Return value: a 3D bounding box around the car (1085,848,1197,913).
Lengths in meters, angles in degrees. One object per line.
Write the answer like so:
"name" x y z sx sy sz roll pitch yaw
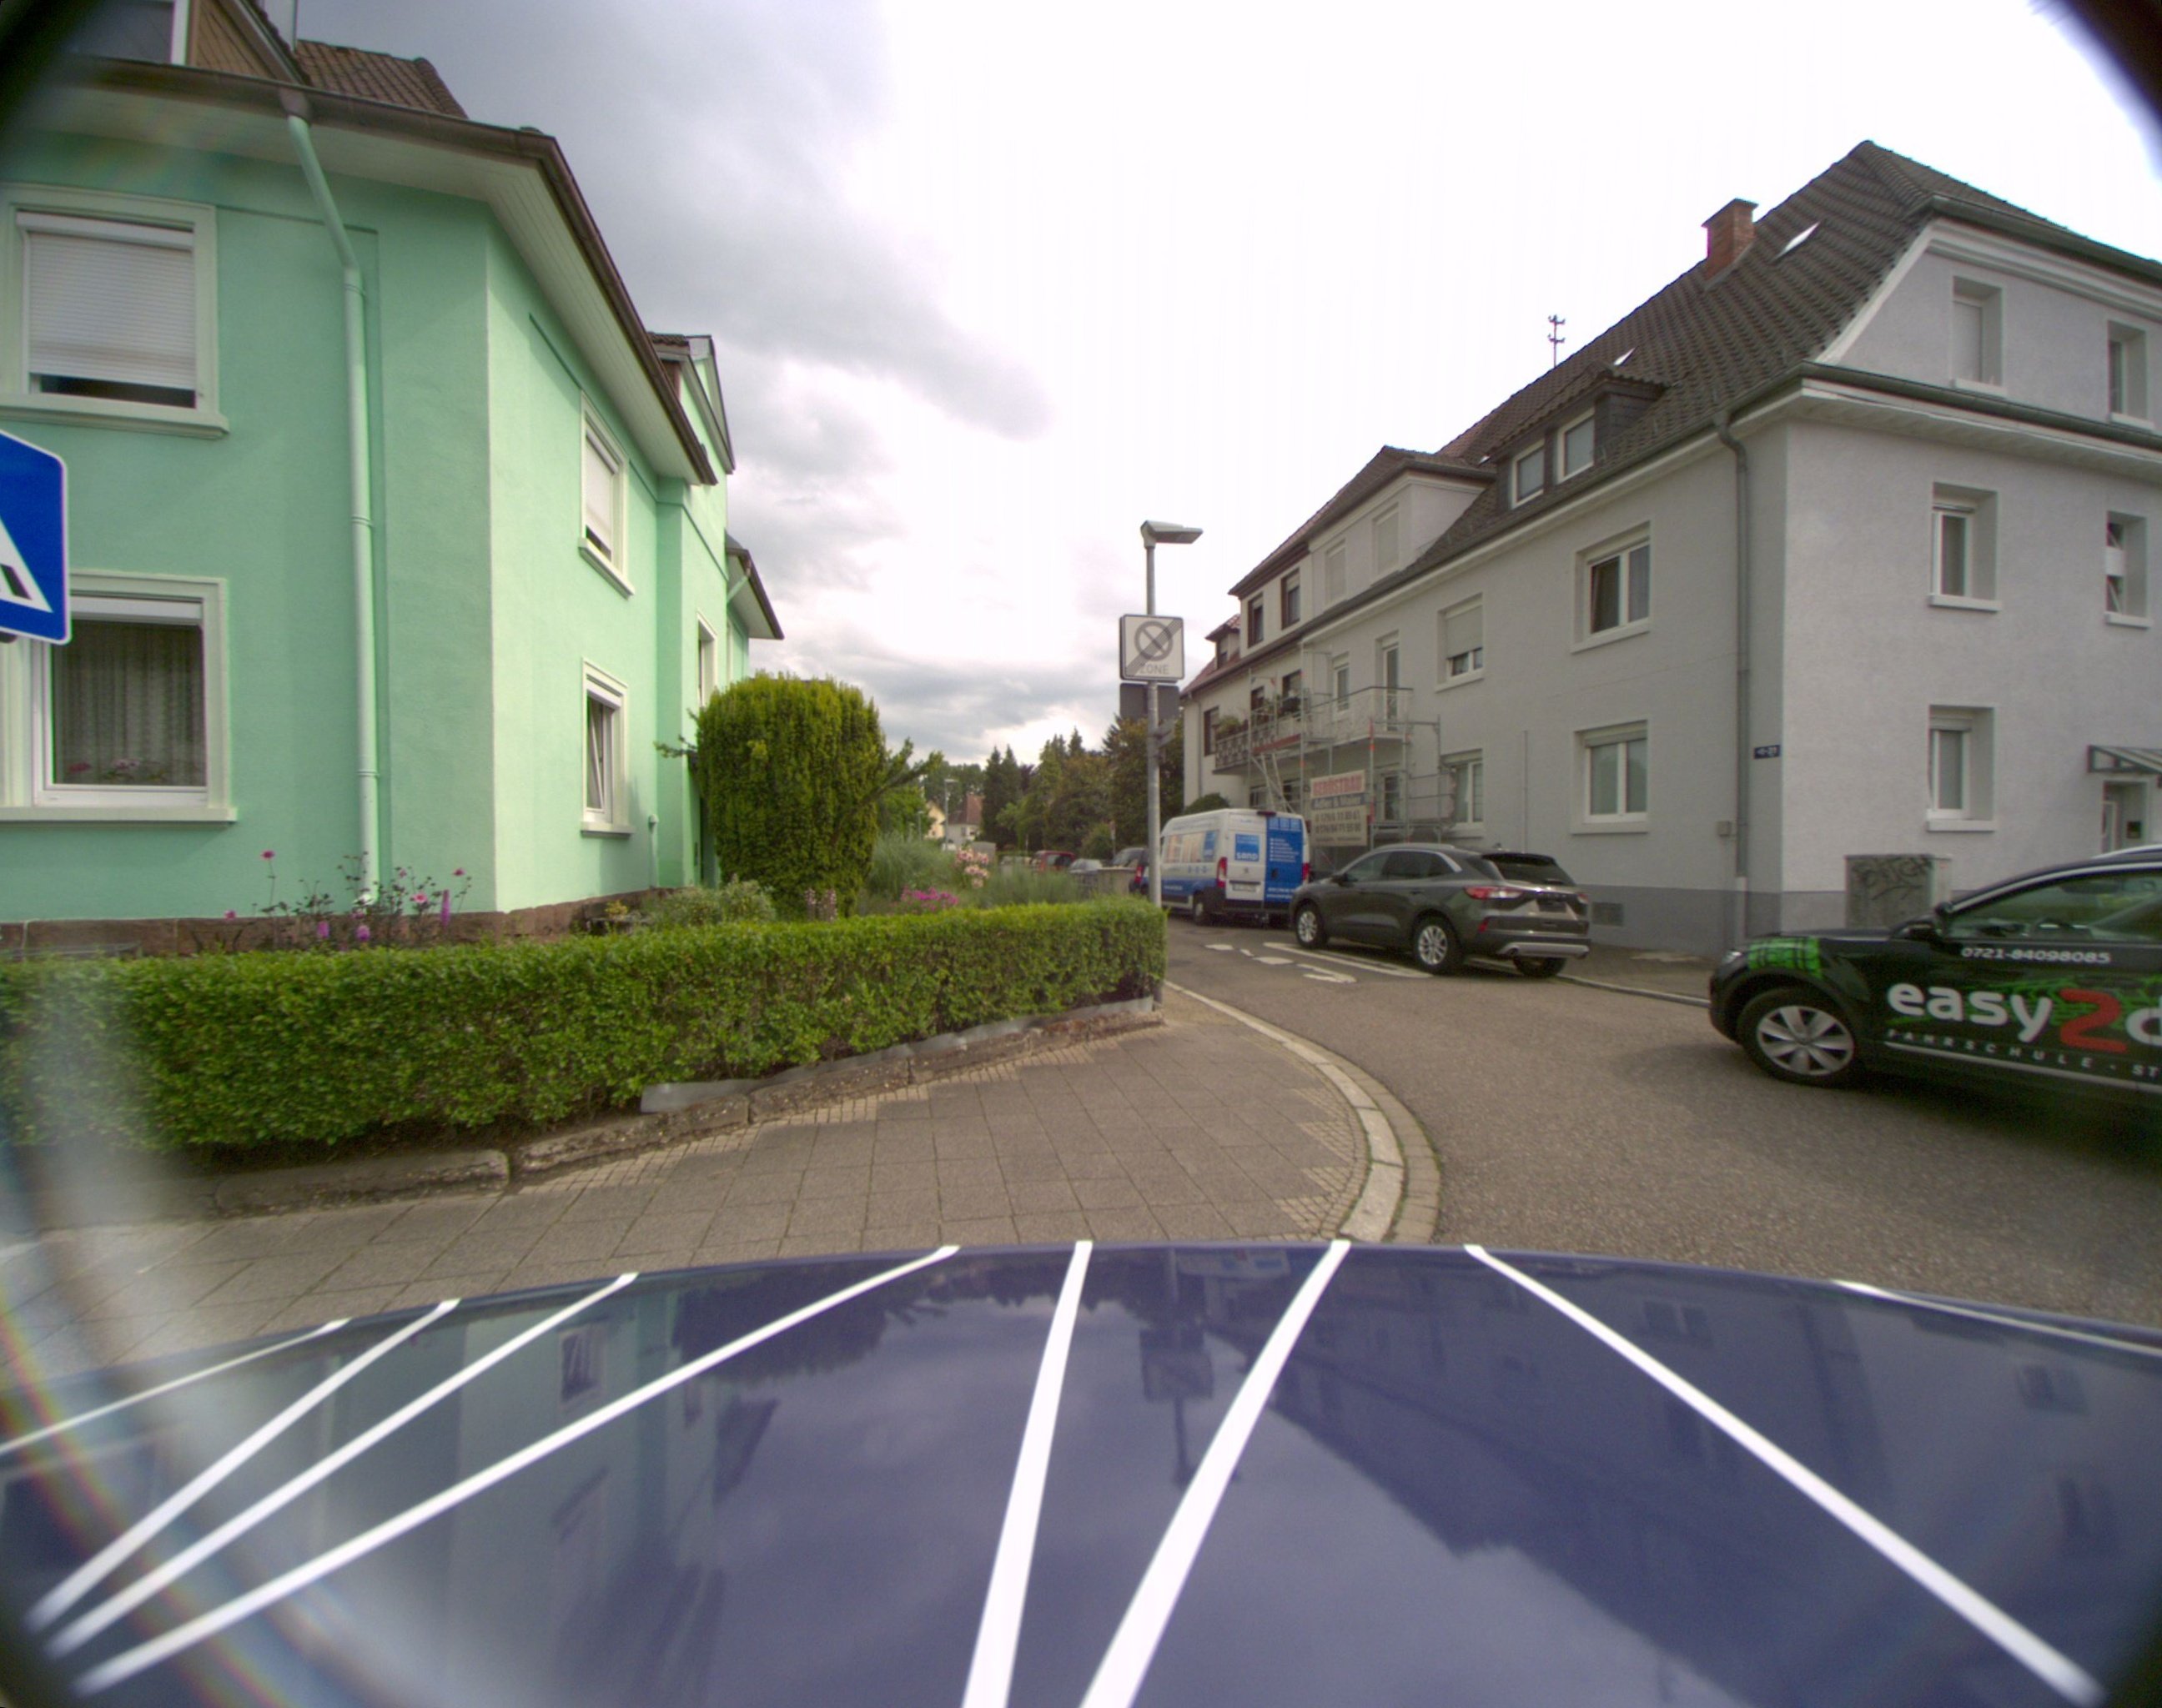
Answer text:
"car" 1.706 0.723 23.338 2.001 1.762 4.335 -1 1 -17

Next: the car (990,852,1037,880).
"car" -4.169 0.701 46.454 2.001 1.582 4.335 -1 1 -17

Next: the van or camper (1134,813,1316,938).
"van or camper" 3.075 0.394 17.593 2.200 2.445 5.047 -1 1 -15

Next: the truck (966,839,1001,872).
"truck" -8.115 0.117 62.800 2.138 2.642 4.577 -1 1 -16

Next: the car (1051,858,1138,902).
"car" 0.405 0.897 28.225 2.001 1.447 4.335 -1 1 -17

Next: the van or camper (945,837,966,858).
"van or camper" -15.614 -0.765 94.492 2.149 2.527 5.008 -1 1 -14

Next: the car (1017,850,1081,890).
"car" -1.605 0.694 35.861 2.001 1.739 4.335 -1 1 -17

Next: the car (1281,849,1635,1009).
"car" 4.845 0.802 10.609 2.001 1.717 4.335 -1 1 -17

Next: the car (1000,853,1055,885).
"car" -2.935 0.766 40.742 2.001 1.582 4.335 -1 1 -17

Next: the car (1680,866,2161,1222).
"car" 5.513 0.831 3.601 1.822 1.511 4.040 0 -1 -9
